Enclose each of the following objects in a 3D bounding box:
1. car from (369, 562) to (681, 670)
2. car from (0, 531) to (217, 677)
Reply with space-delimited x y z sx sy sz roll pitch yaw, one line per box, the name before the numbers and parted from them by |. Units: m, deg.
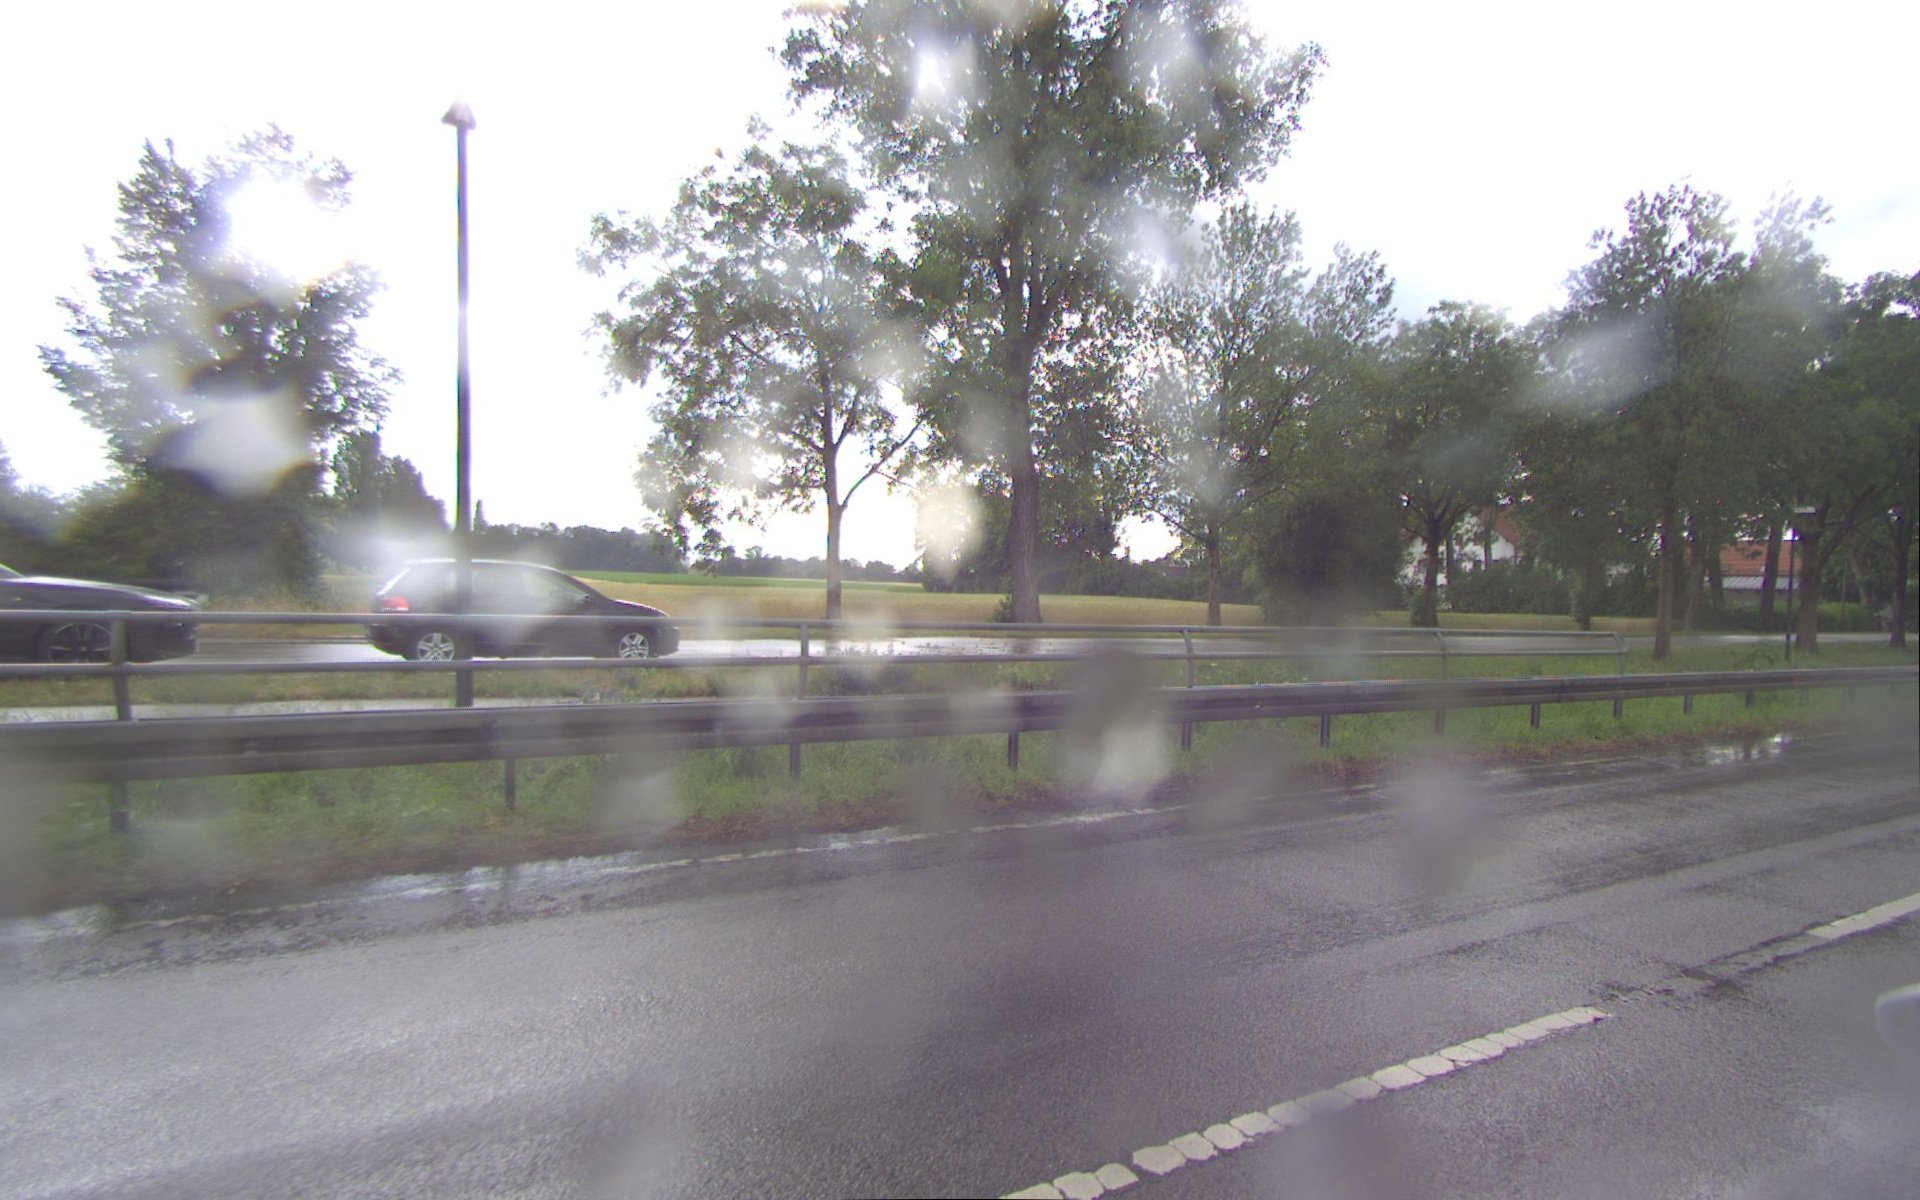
car | -6.016 0.226 14.107 3.859 1.348 1.274 1 0 -35
car | -11.020 0.023 10.564 5.071 1.511 1.505 1 0 -35
